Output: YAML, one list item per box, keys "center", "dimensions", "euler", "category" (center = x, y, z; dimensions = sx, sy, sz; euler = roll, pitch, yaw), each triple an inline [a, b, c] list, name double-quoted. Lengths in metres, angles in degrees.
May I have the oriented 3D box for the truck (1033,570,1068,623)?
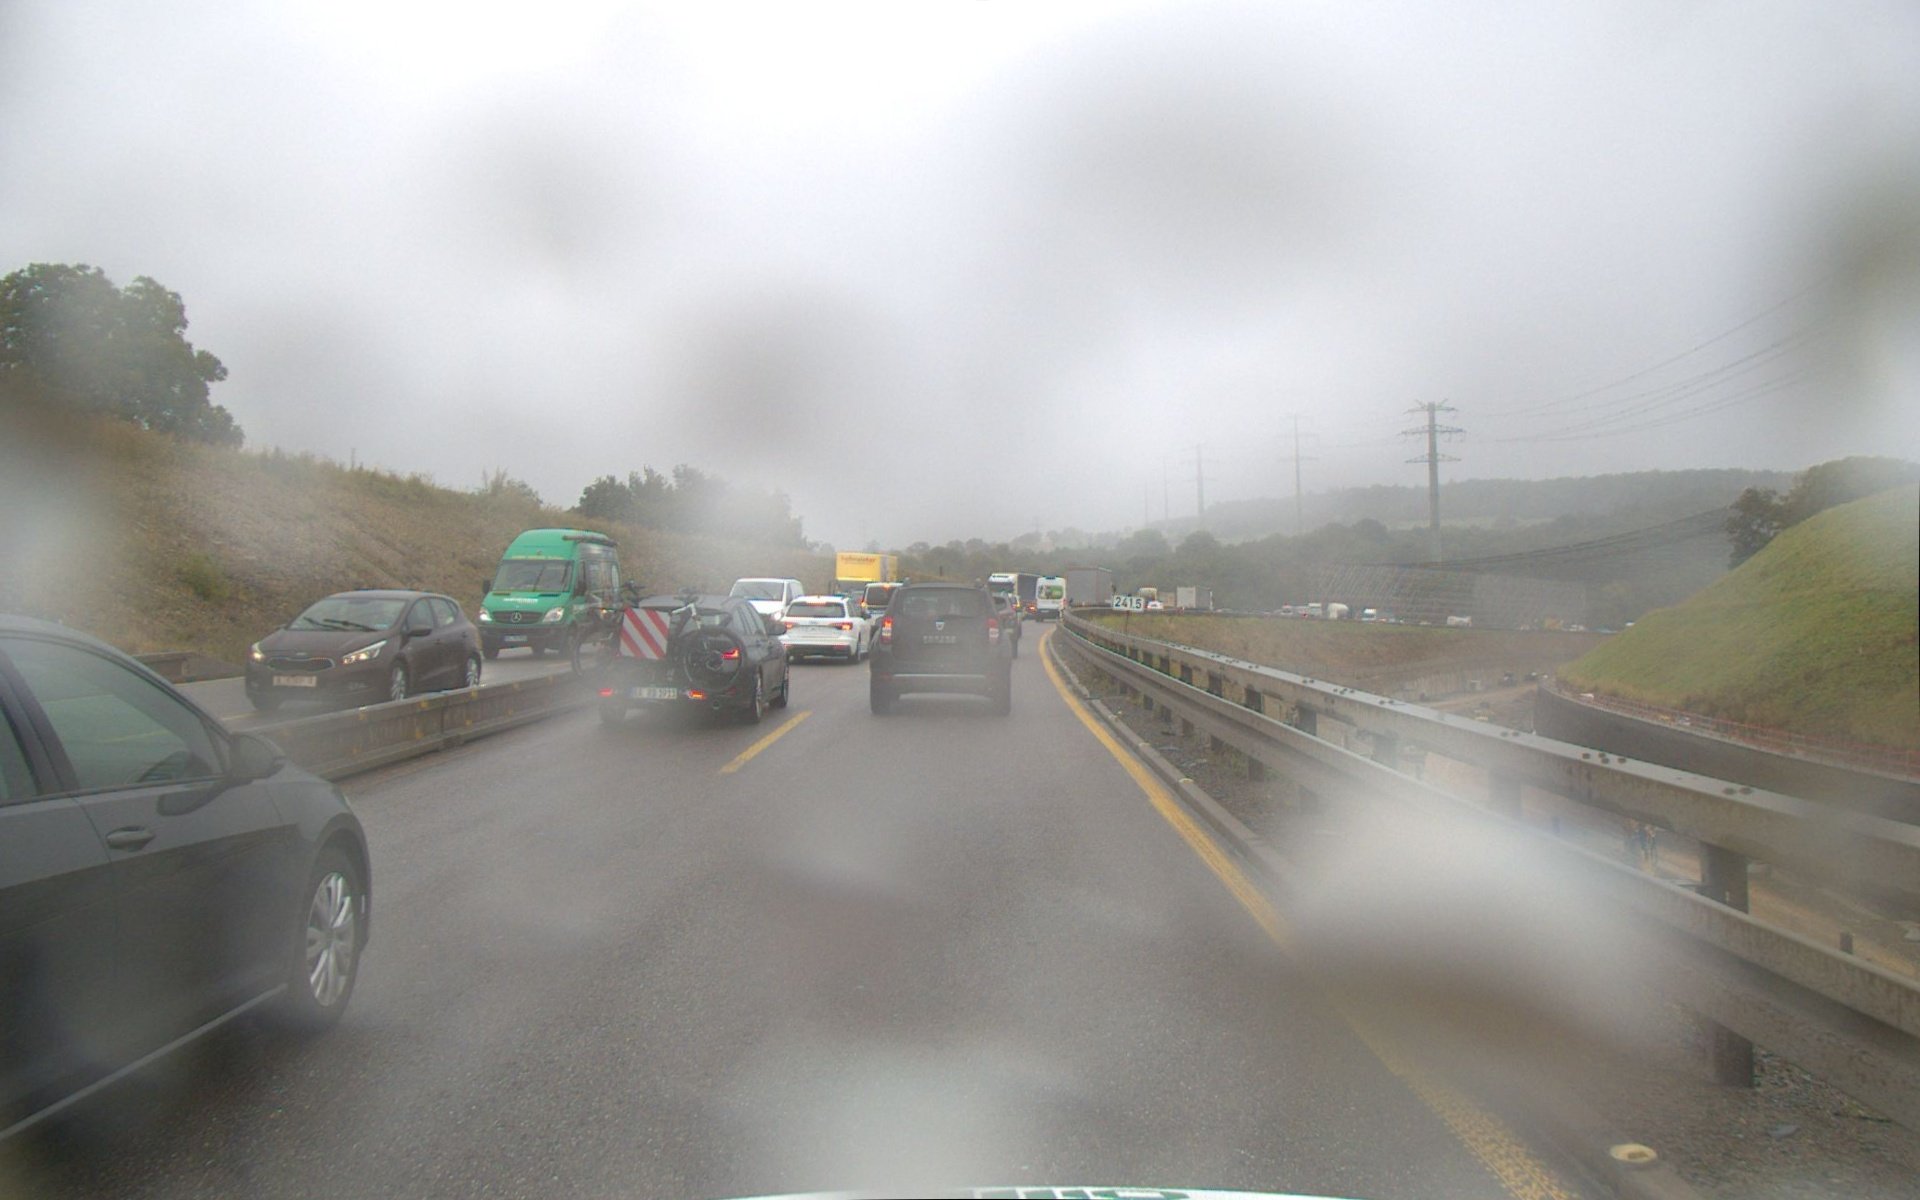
- center: [5.879, -0.222, 106.801]
  dimensions: [2.104, 3.221, 6.462]
  euler: [2, 0, 4]
  category: "truck"

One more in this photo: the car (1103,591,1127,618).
- center: [11.759, 0.331, 125.204]
  dimensions: [1.737, 1.949, 4.003]
  euler: [2, 0, 6]
  category: "car"

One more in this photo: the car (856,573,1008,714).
- center: [-0.283, 0.515, 21.642]
  dimensions: [1.767, 1.674, 3.777]
  euler: [0, 0, 2]
  category: "car"

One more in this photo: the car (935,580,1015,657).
- center: [0.420, 0.427, 40.681]
  dimensions: [1.829, 1.738, 4.001]
  euler: [1, 0, 2]
  category: "car"

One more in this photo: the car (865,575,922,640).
- center: [-2.059, 0.209, 52.072]
  dimensions: [1.626, 1.912, 4.019]
  euler: [2, 0, -1]
  category: "car"

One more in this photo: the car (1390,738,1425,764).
- center: [42.215, 14.215, 156.006]
  dimensions: [2.316, 2.049, 4.002]
  euler: [2, 0, 3]
  category: "car"

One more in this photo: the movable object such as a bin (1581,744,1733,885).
- center: [22.976, 7.011, 54.731]
  dimensions: [3.148, 3.934, 4.123]
  euler: [3, 1, 1]
  category: "movable object such as a bin"

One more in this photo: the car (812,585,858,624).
- center: [-5.421, 0.189, 72.275]
  dimensions: [1.724, 1.625, 3.999]
  euler: [2, 0, -1]
  category: "car"

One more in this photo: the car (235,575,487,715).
- center: [-7.450, 0.504, 20.992]
  dimensions: [1.678, 1.563, 4.046]
  euler: [2, 0, 0]
  category: "car"

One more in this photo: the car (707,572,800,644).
- center: [-5.915, 0.209, 47.951]
  dimensions: [1.960, 1.920, 5.274]
  euler: [2, 0, 0]
  category: "car"

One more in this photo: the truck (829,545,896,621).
- center: [-5.439, -0.933, 93.995]
  dimensions: [2.710, 4.066, 8.427]
  euler: [1, 0, 4]
  category: "truck"

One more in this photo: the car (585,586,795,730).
- center: [-3.043, 0.610, 19.377]
  dimensions: [1.791, 1.502, 3.776]
  euler: [0, 0, 1]
  category: "car"

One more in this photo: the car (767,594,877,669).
- center: [-2.947, 0.639, 36.259]
  dimensions: [1.829, 1.486, 4.550]
  euler: [2, 0, 2]
  category: "car"

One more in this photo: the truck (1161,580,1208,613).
- center: [30.457, -0.452, 223.630]
  dimensions: [4.617, 4.222, 15.695]
  euler: [2, 0, 13]
  category: "truck"

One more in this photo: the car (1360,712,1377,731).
- center: [52.237, 15.552, 211.447]
  dimensions: [1.951, 2.049, 4.003]
  euler: [2, 0, 16]
  category: "car"

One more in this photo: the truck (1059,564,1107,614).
- center: [10.046, -0.891, 133.934]
  dimensions: [3.132, 3.827, 8.516]
  euler: [2, 0, 9]
  category: "truck"

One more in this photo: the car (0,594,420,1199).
- center: [-2.777, 0.772, 3.964]
  dimensions: [1.581, 1.532, 4.367]
  euler: [-1, 0, -1]
  category: "car"

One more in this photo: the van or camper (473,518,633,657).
- center: [-9.135, -0.285, 37.703]
  dimensions: [2.057, 2.867, 5.943]
  euler: [2, 0, 0]
  category: "van or camper"

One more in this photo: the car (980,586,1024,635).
- center: [1.497, 0.358, 59.225]
  dimensions: [1.499, 1.669, 4.013]
  euler: [2, 0, 1]
  category: "car"
